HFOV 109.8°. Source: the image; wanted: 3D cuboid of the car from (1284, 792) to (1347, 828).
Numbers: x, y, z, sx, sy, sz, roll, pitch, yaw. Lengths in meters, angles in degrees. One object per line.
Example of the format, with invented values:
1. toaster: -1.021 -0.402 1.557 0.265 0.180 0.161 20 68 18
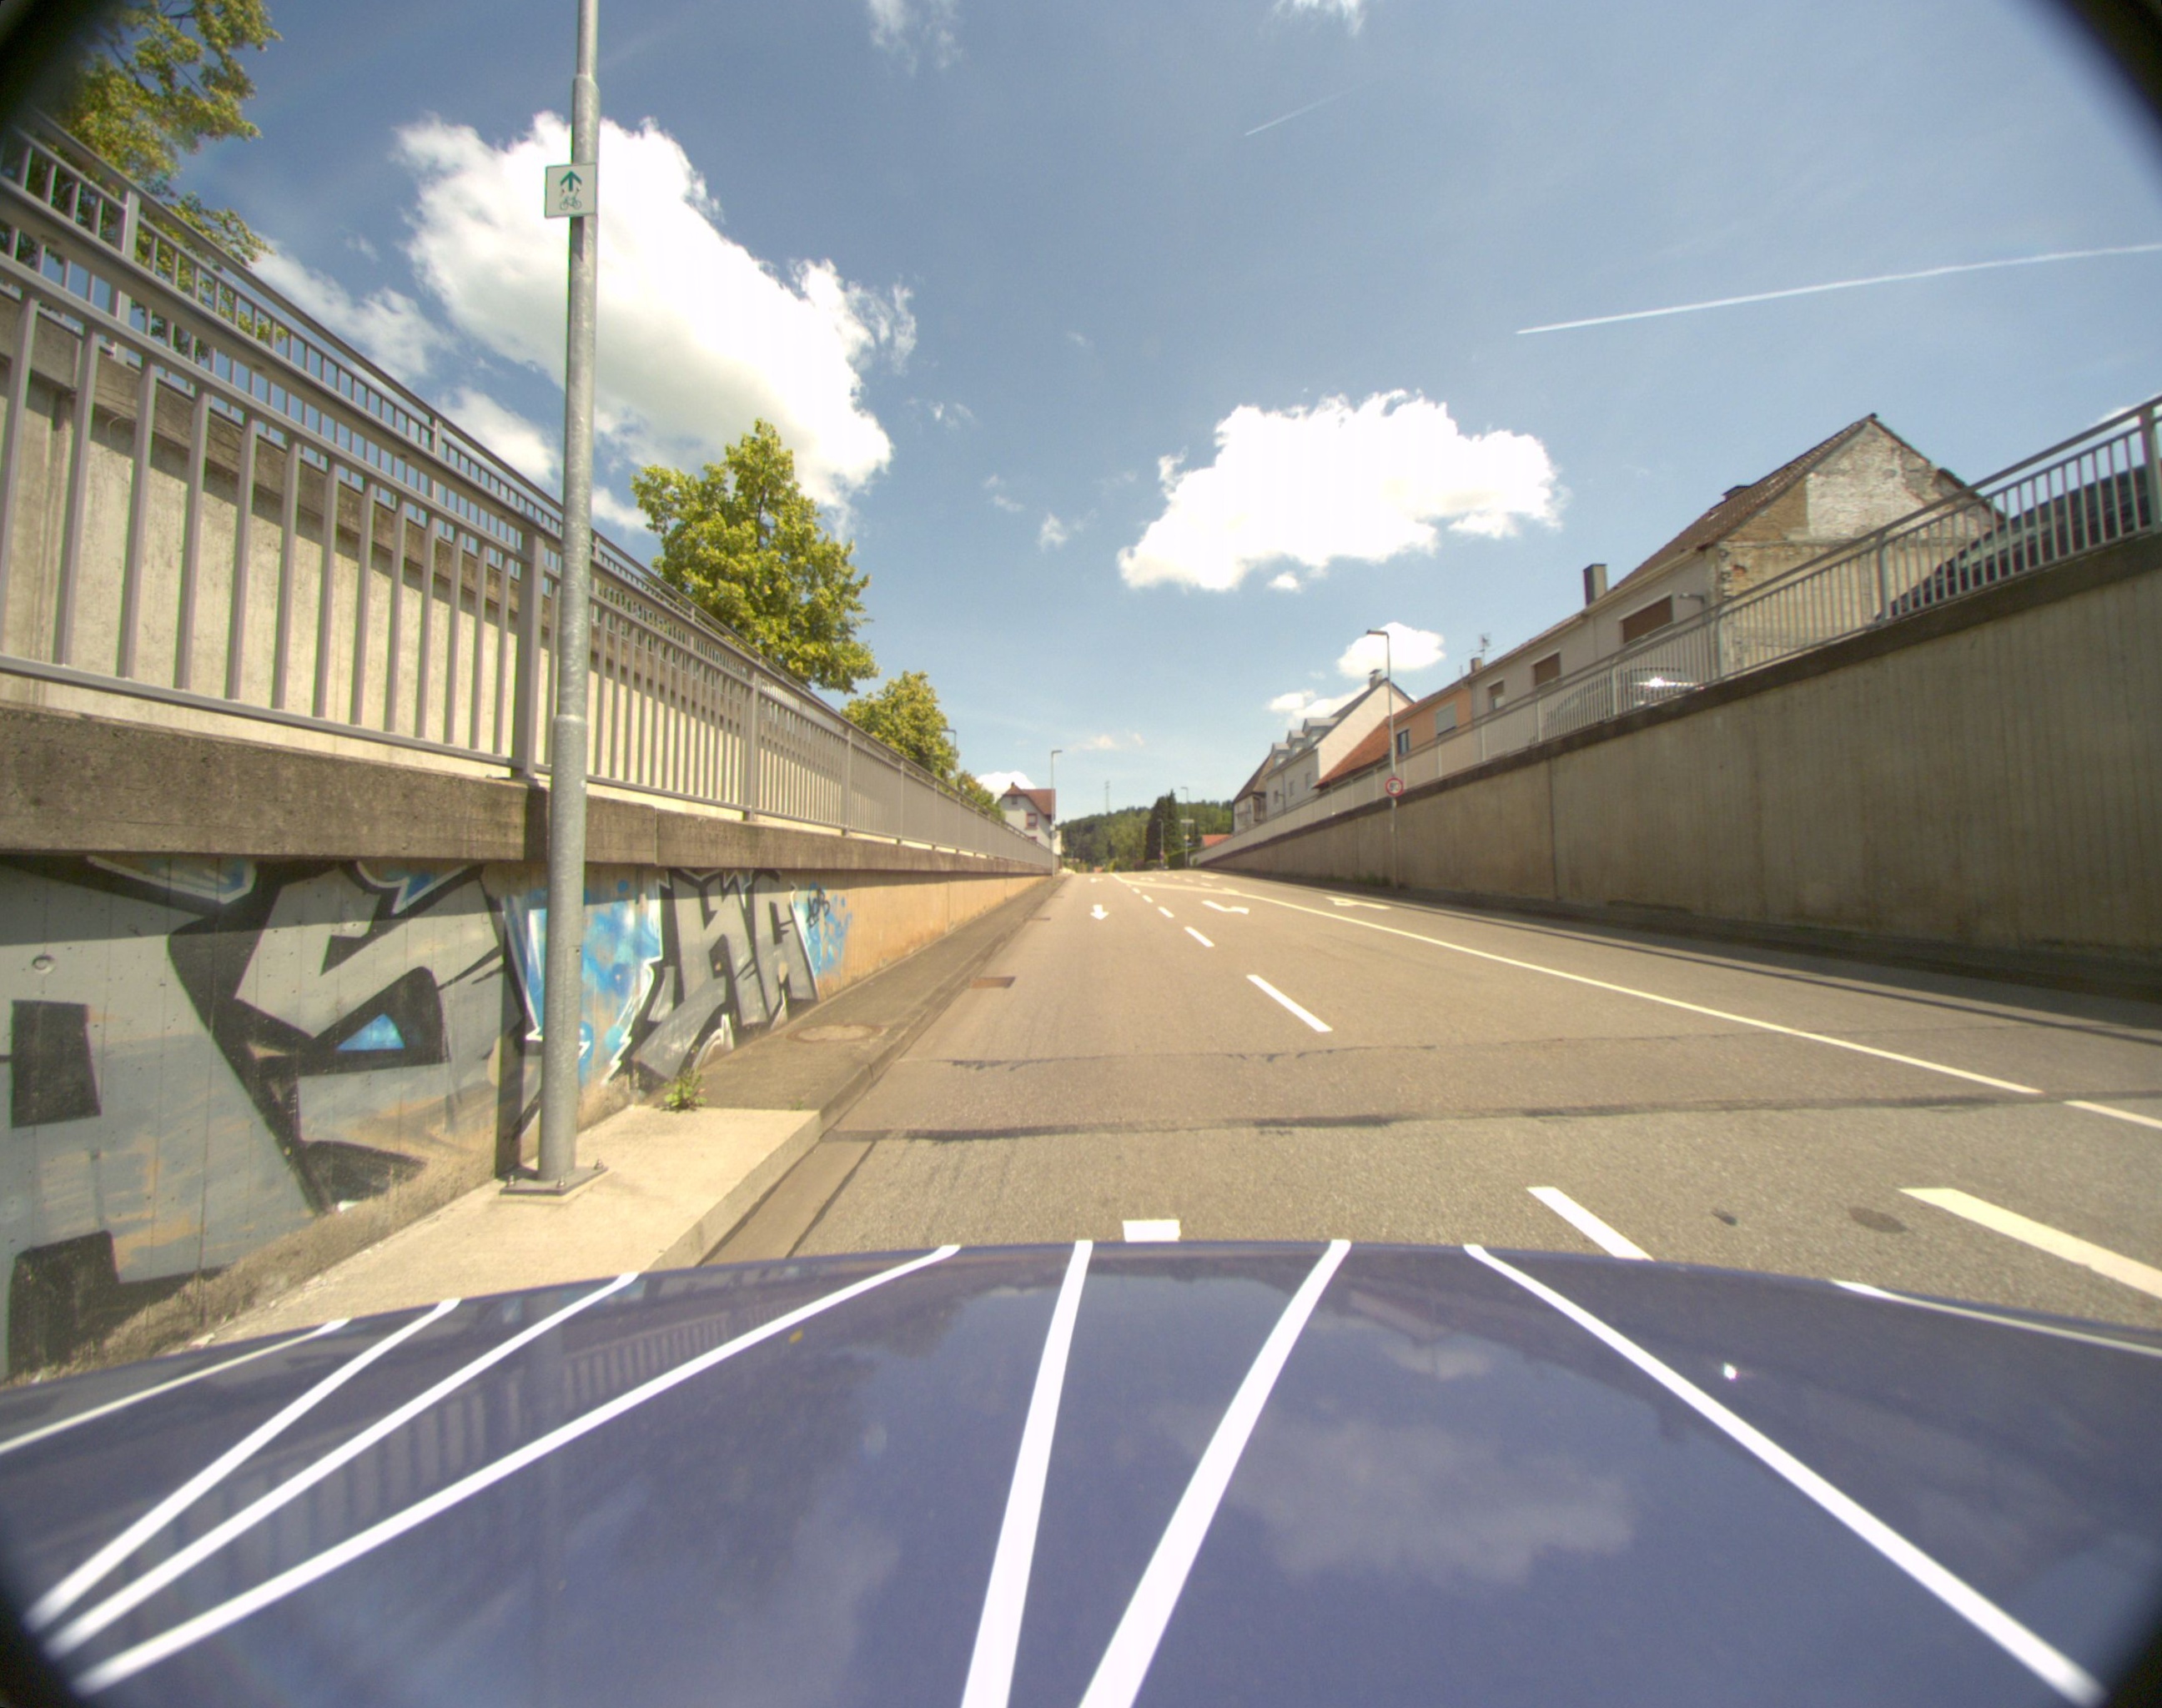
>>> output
1. car: 12.029 -2.231 39.211 1.790 1.396 4.394 -1 -2 -1

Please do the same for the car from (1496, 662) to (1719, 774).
1. car: 11.402 -2.864 16.907 1.803 1.515 4.394 -1 -2 -1

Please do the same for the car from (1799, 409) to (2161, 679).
1. car: 11.672 -3.543 9.218 1.827 1.695 4.223 -1 -2 -1
